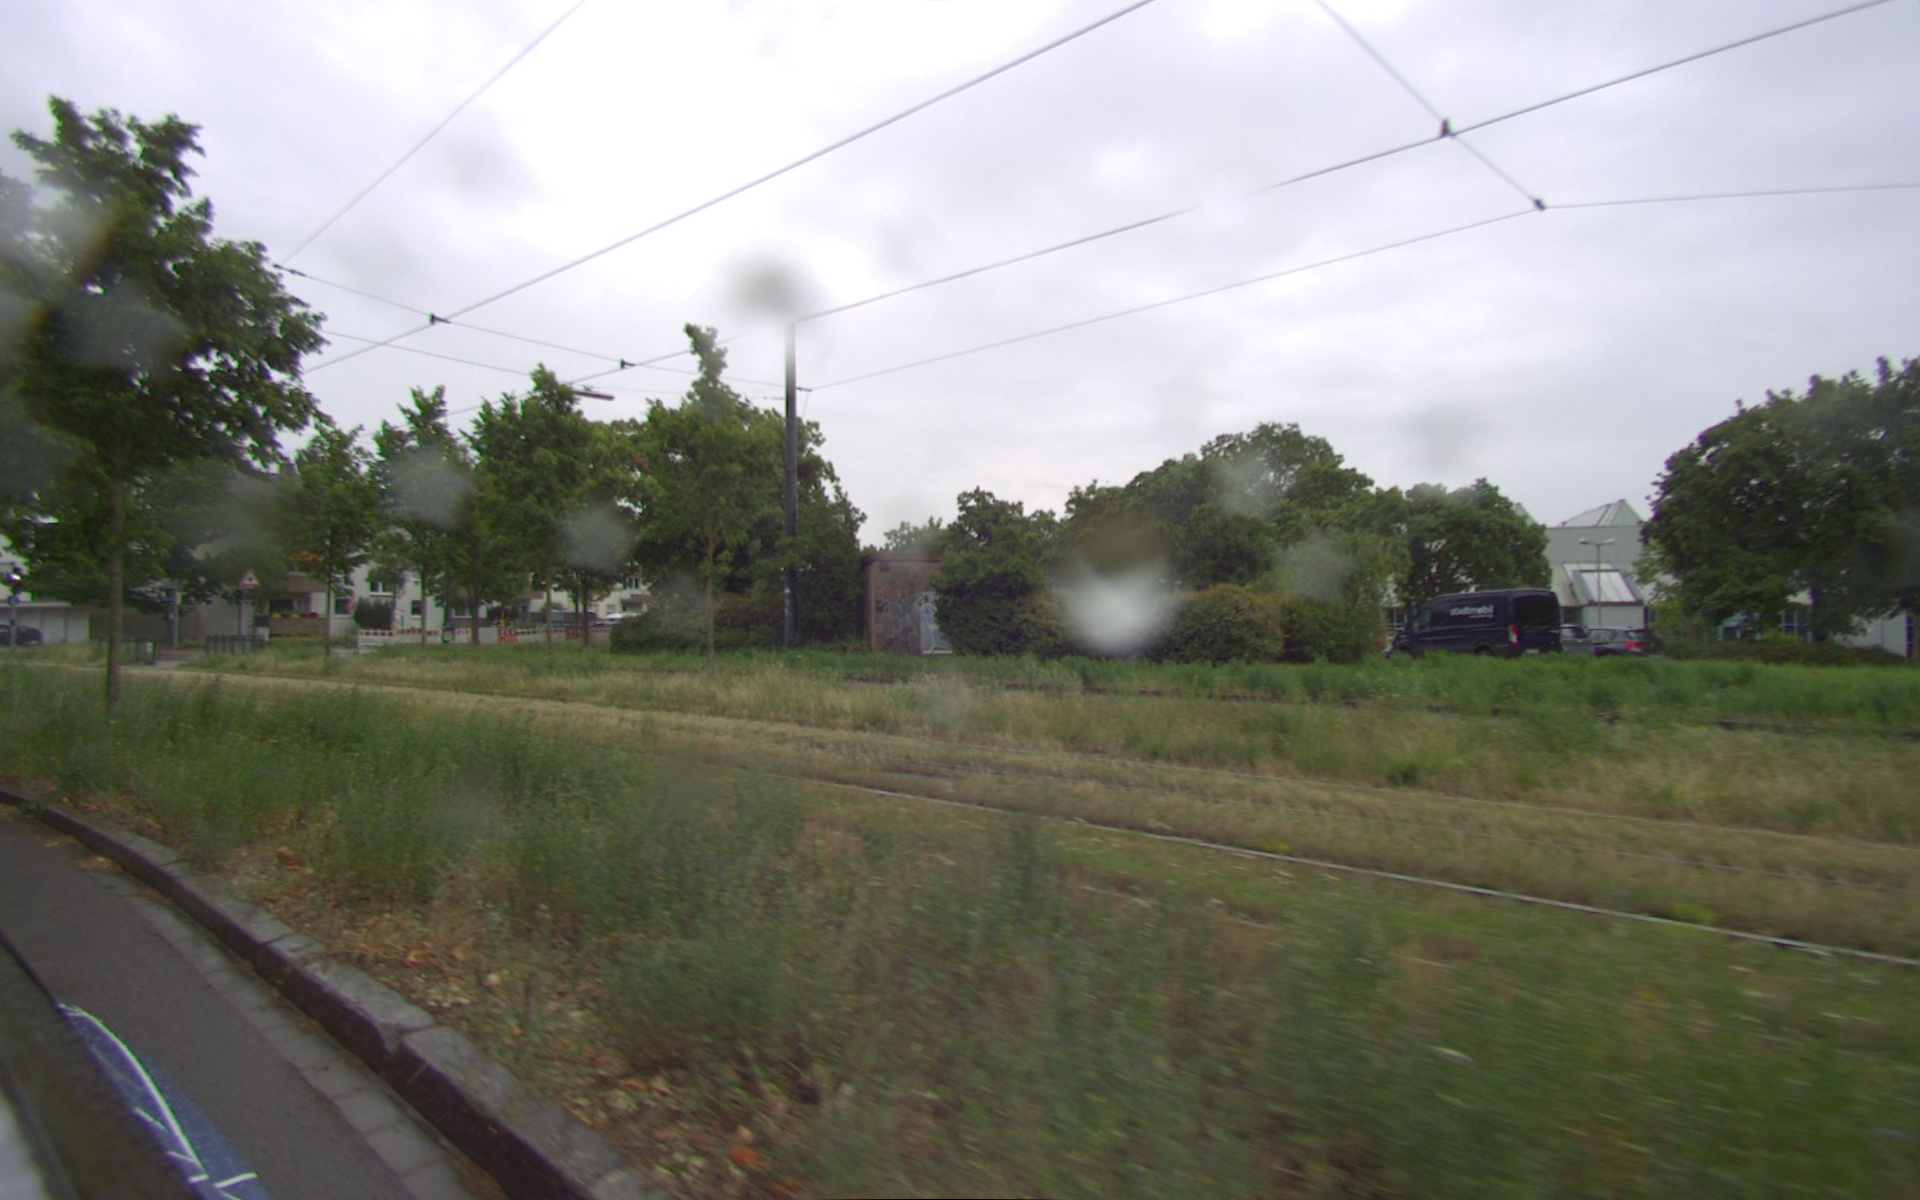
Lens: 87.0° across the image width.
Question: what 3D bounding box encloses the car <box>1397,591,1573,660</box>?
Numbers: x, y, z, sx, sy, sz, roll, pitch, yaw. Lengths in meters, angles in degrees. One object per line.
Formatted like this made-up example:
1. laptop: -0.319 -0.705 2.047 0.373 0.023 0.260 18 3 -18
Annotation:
1. car: 16.201 0.819 31.544 2.002 1.962 4.729 1 -2 -20

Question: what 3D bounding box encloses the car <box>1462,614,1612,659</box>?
1. car: 18.653 1.183 32.929 1.806 1.349 4.109 1 -2 -16

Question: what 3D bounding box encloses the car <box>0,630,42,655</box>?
1. car: -56.786 2.502 58.879 1.837 1.376 4.703 -1 -1 24

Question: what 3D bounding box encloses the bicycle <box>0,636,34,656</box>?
1. bicycle: -52.181 2.535 55.763 1.814 1.027 0.482 -1 1 -2

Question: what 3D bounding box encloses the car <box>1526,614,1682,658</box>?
1. car: 21.004 1.192 33.202 1.806 1.349 4.109 1 -2 -16

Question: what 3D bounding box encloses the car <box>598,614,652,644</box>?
1. car: -27.986 2.466 84.678 1.904 2.465 4.439 -1 -2 21
